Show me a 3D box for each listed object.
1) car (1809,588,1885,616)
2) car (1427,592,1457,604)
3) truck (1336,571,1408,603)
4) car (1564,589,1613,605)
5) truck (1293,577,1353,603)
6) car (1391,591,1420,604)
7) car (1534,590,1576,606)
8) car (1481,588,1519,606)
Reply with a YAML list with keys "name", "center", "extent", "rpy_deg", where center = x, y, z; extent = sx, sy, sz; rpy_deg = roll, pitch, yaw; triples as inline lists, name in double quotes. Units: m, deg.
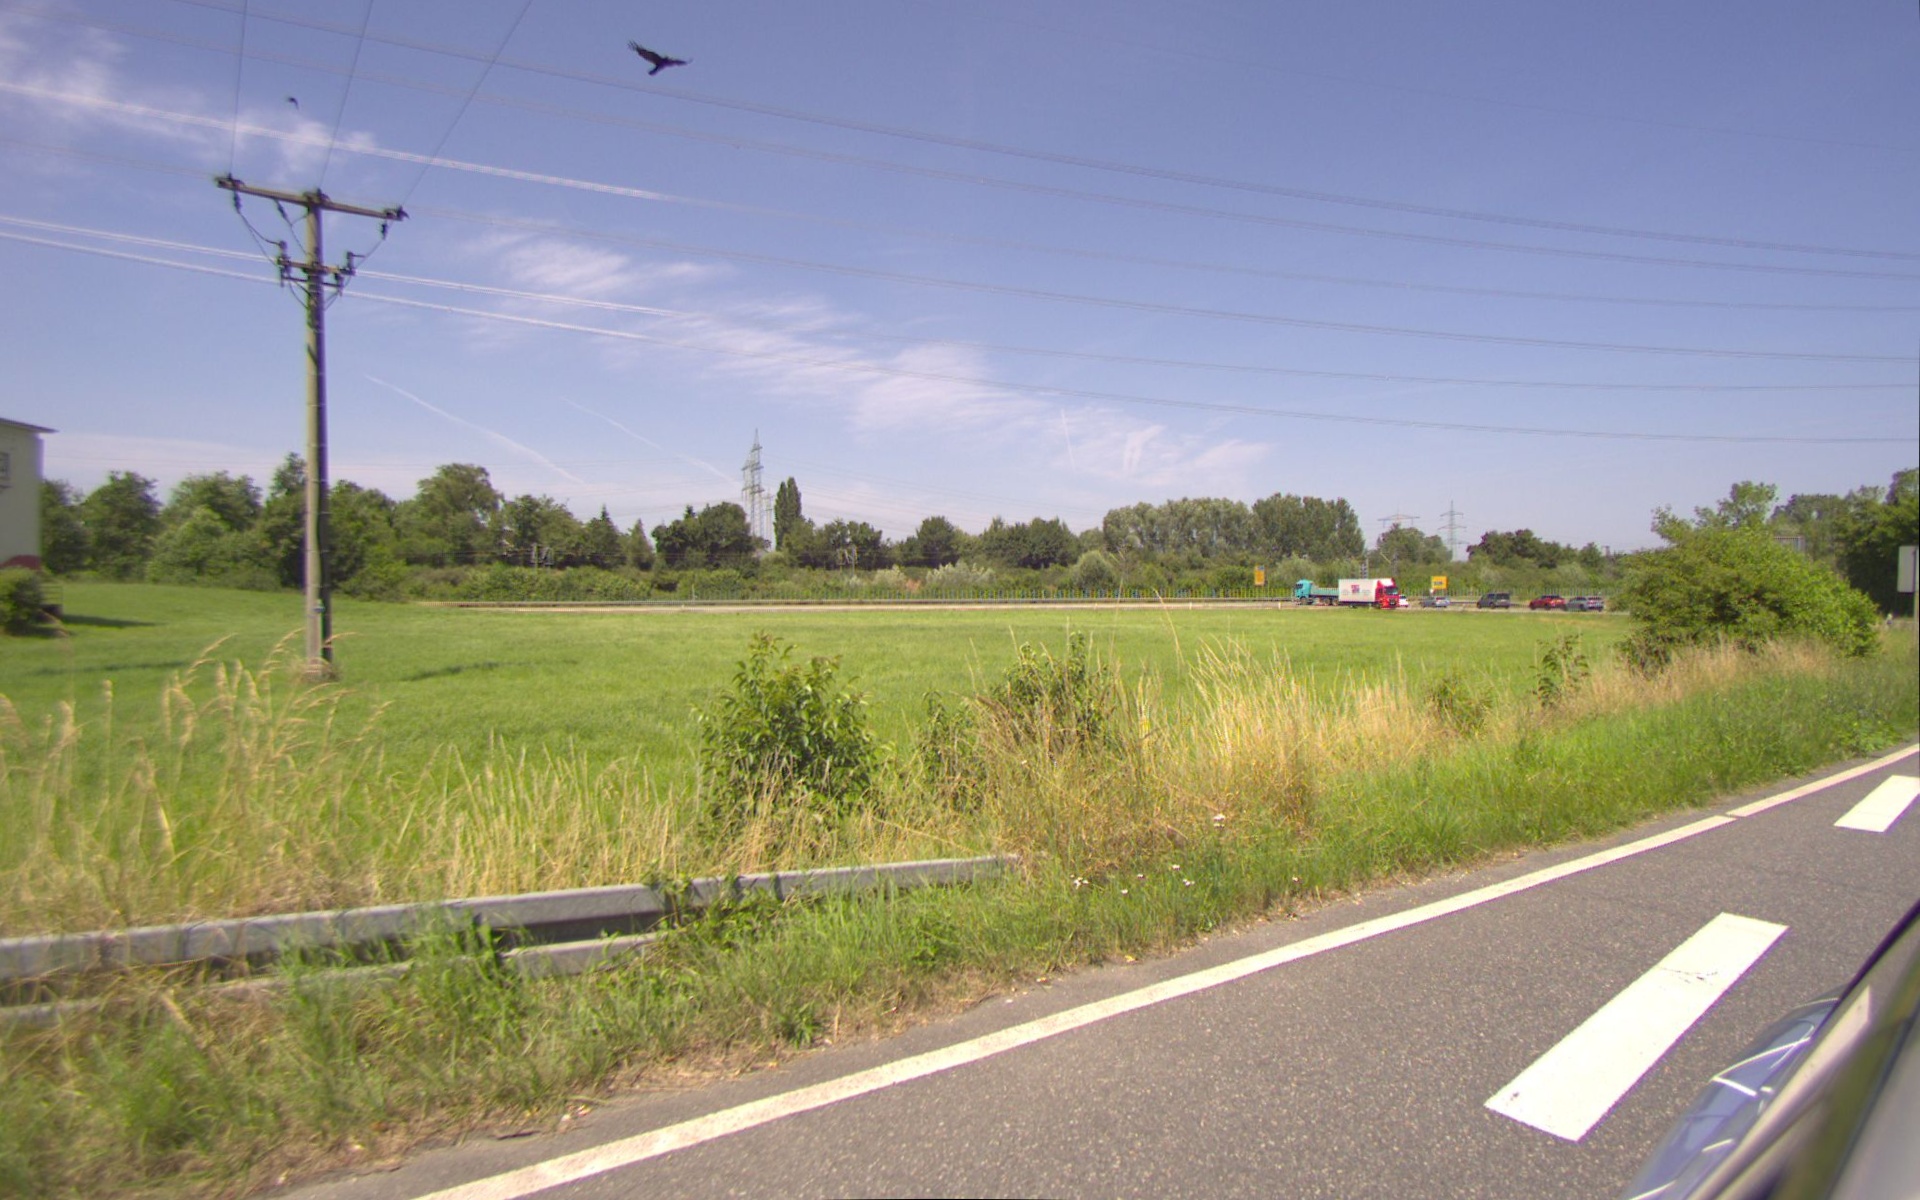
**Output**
- name: "car"
  center: [54.627, 0.113, 62.420]
  extent: [1.838, 1.622, 4.745]
  rpy_deg: [-2, -1, 20]
- name: "car"
  center: [59.190, -0.227, 124.280]
  extent: [1.605, 1.478, 4.010]
  rpy_deg: [-1, 0, -2]
- name: "truck"
  center: [49.797, -1.535, 122.620]
  extent: [2.669, 3.624, 9.575]
  rpy_deg: [-2, 1, -15]
- name: "car"
  center: [59.692, -0.306, 96.209]
  extent: [1.813, 1.478, 4.807]
  rpy_deg: [-1, 1, 2]
- name: "truck"
  center: [51.064, -1.366, 142.559]
  extent: [2.567, 3.515, 7.590]
  rpy_deg: [0, 0, -43]
- name: "car"
  center: [59.016, -0.370, 134.192]
  extent: [1.743, 1.641, 4.332]
  rpy_deg: [-2, 0, -2]
- name: "car"
  center: [60.233, -0.262, 102.536]
  extent: [1.771, 1.534, 4.390]
  rpy_deg: [0, 1, 2]
- name: "car"
  center: [60.120, -0.359, 112.745]
  extent: [1.896, 1.855, 4.439]
  rpy_deg: [-1, 1, 0]
